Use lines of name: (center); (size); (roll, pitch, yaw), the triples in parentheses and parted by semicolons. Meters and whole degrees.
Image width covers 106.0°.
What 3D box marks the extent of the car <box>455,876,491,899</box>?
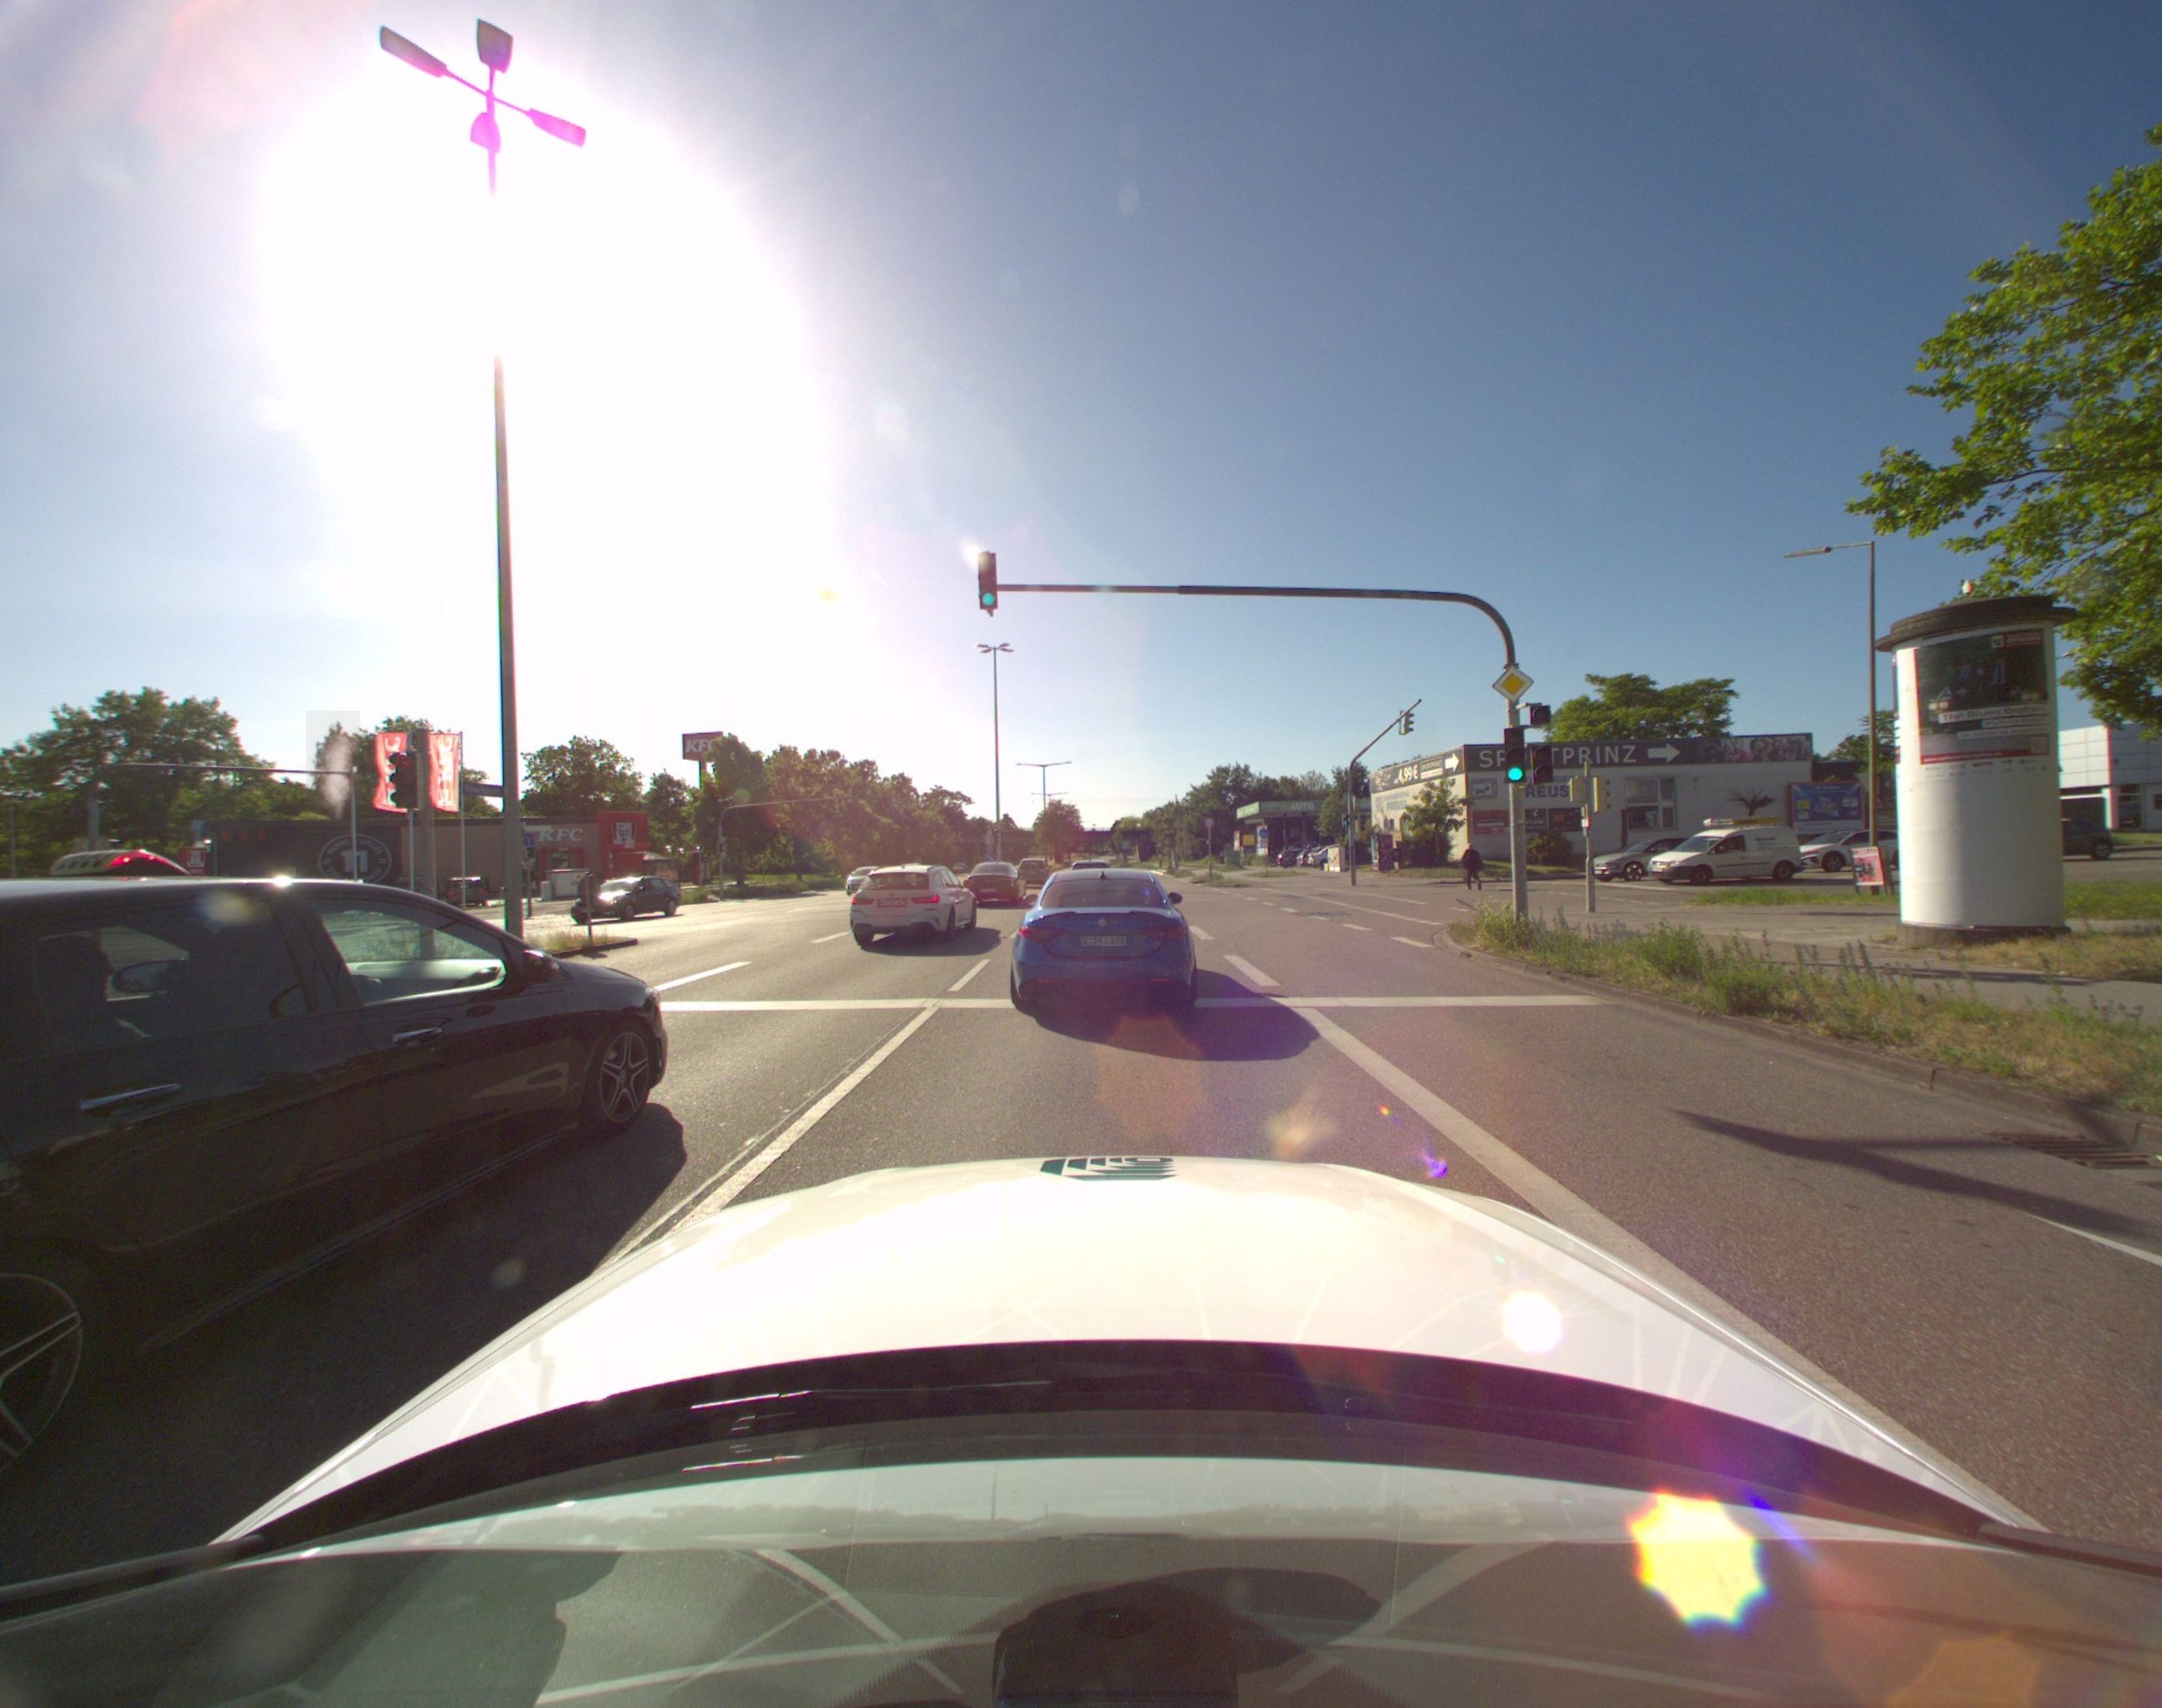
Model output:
car: (-40.547, 2.196, 54.272); (1.670, 1.471, 3.871); (1, -1, -40)

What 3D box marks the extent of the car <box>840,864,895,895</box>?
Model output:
car: (-11.415, 1.319, 43.754); (1.752, 1.490, 3.838); (-3, -1, 2)

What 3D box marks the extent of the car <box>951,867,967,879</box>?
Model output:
car: (-16.430, 2.532, 109.830); (1.610, 1.559, 3.358); (0, -1, 1)

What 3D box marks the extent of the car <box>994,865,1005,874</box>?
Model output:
car: (-15.257, 2.846, 153.302); (1.603, 1.647, 3.463); (0, -1, 1)

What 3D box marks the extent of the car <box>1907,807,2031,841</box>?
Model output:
car: (46.607, -1.541, 42.913); (1.750, 1.490, 4.573); (-3, -1, 6)

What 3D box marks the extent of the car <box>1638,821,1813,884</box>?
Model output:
car: (21.138, -0.062, 26.838); (4.367, 1.801, 1.765); (-3, 1, 0)

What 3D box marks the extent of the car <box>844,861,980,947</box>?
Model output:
car: (-3.244, 0.911, 16.514); (1.779, 1.490, 4.403); (0, -1, 0)

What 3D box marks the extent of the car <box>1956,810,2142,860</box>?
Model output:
car: (35.644, -0.673, 30.071); (4.532, 1.490, 1.766); (-3, -1, 3)

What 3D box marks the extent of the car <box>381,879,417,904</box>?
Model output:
car: (-43.755, 2.363, 52.231); (1.670, 1.471, 3.871); (1, -1, -40)

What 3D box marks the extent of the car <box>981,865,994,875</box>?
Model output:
car: (-15.129, 2.536, 131.365); (1.603, 1.647, 3.463); (0, -1, 1)

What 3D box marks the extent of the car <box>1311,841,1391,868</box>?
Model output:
car: (17.145, 0.037, 51.833); (4.470, 1.454, 1.859); (-3, -1, 3)

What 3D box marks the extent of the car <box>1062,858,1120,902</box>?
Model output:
car: (0.348, 0.867, 28.264); (1.844, 1.418, 4.403); (0, -1, 0)

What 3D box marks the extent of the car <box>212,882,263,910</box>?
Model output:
car: (-49.051, 2.415, 47.422); (1.670, 1.471, 3.871); (1, -1, -40)

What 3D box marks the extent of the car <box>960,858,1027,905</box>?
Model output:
car: (-2.947, 0.920, 28.345); (1.791, 1.490, 4.475); (0, -1, 0)

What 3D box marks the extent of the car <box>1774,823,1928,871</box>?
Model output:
car: (28.525, -0.248, 30.253); (4.029, 1.490, 1.782); (-3, -1, -1)

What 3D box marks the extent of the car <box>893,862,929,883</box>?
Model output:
car: (-14.698, 1.594, 70.569); (1.981, 1.629, 4.480); (-3, -1, 2)

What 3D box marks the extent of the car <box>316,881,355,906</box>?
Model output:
car: (-46.241, 2.417, 50.567); (1.670, 1.471, 3.871); (1, -1, -40)

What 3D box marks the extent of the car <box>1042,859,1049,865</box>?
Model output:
car: (-9.819, 2.104, 224.658); (1.565, 1.618, 4.001); (0, -1, 1)

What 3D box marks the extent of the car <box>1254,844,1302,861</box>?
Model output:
car: (20.420, -0.173, 84.643); (4.532, 1.490, 1.766); (-3, -1, 3)

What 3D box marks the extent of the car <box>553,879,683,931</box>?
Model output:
car: (-15.861, 1.692, 28.201); (1.752, 1.490, 4.480); (-3, -1, 2)

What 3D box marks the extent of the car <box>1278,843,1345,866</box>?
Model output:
car: (17.323, 0.030, 61.275); (4.470, 1.454, 1.859); (-3, -1, 3)

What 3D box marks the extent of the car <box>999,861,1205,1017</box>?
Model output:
car: (0.217, 0.813, 9.688); (1.889, 1.418, 4.403); (0, -1, 0)

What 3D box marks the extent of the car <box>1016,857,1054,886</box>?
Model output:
car: (-2.444, 0.938, 44.251); (1.753, 1.490, 4.403); (0, -1, 0)

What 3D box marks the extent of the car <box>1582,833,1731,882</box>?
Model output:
car: (21.255, 0.110, 30.172); (4.273, 1.549, 1.765); (-3, 1, 0)

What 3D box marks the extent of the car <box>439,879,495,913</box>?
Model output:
car: (-34.248, 2.299, 45.552); (1.920, 1.753, 4.315); (0, -1, -29)

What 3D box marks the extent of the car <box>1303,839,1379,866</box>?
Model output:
car: (17.366, -0.094, 54.512); (4.470, 1.454, 1.859); (-3, -1, 3)

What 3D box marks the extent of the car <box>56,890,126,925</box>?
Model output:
car: (-52.631, 2.794, 43.357); (1.670, 1.673, 3.897); (1, -1, -40)

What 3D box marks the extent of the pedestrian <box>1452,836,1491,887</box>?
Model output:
pedestrian: (13.737, 0.263, 28.677); (0.922, 1.735, 0.939); (0, -1, 1)

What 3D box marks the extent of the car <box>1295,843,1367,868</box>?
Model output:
car: (17.579, 0.100, 57.458); (4.470, 1.454, 1.859); (-3, -1, 3)

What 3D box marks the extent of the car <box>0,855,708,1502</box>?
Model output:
car: (-3.399, 0.801, 3.277); (1.754, 1.490, 4.401); (-2, -1, -1)

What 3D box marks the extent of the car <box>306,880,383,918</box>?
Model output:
car: (-37.904, 2.252, 42.058); (2.006, 1.765, 4.315); (0, -1, -29)
